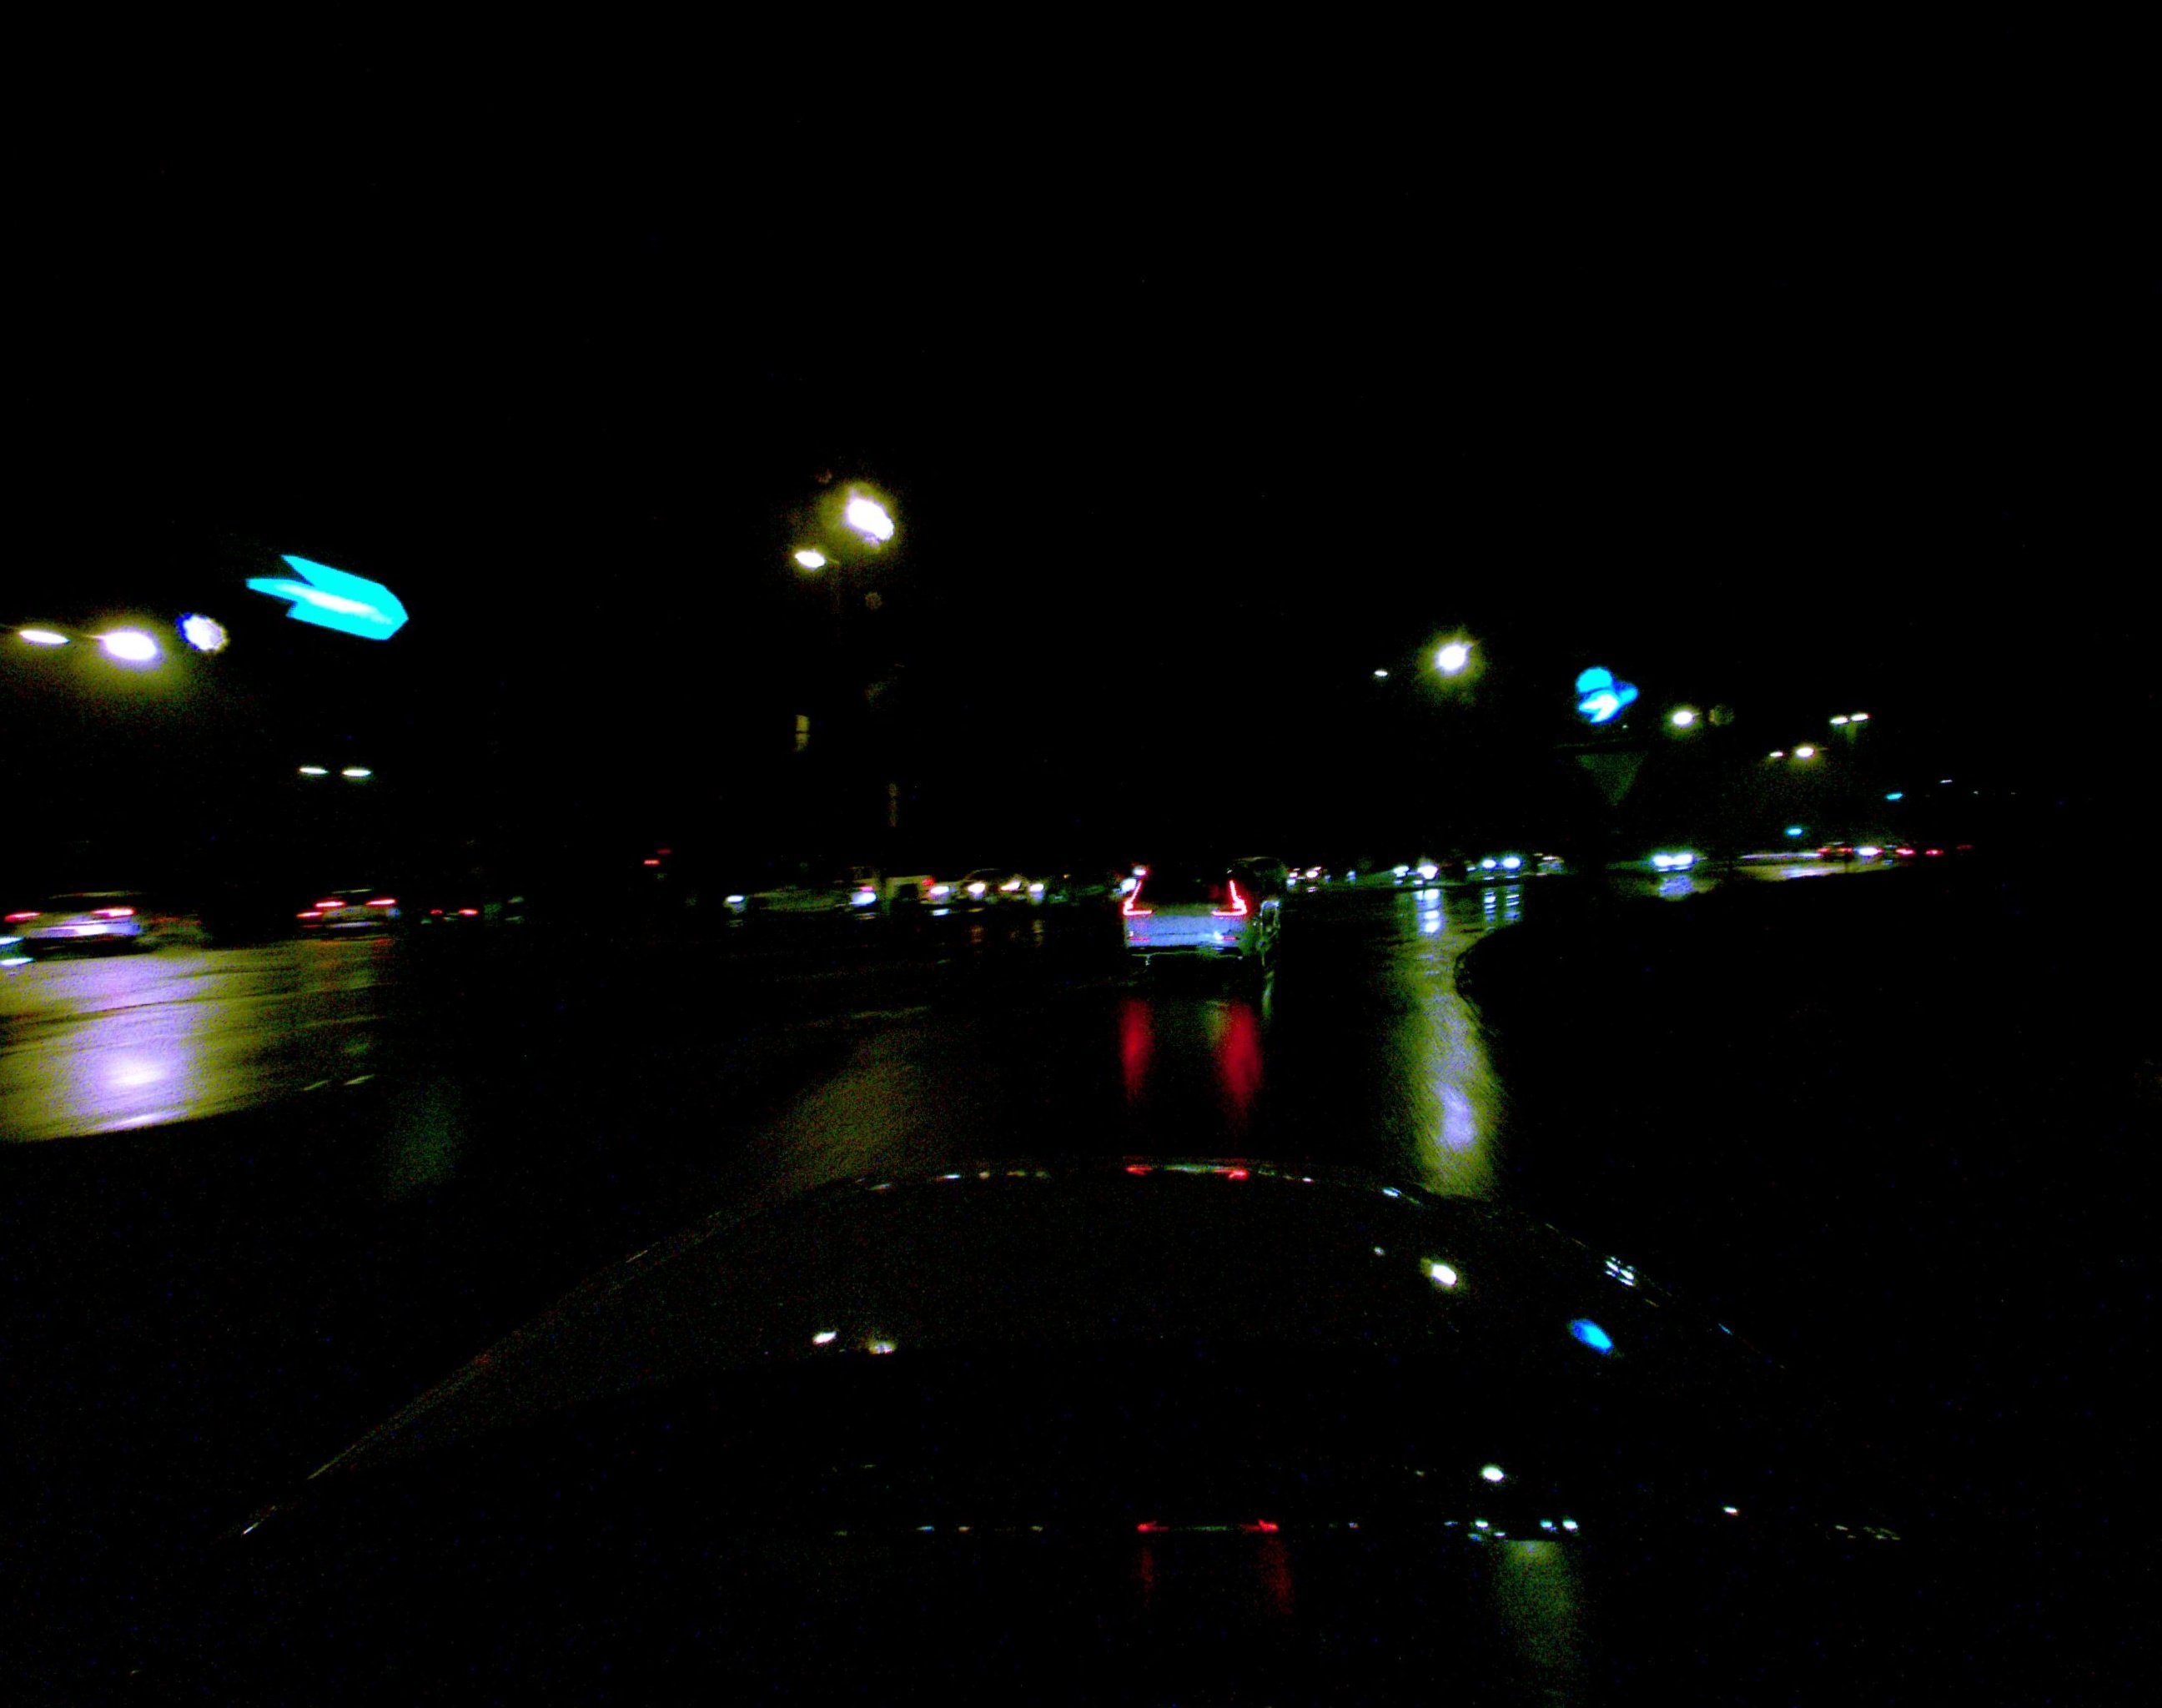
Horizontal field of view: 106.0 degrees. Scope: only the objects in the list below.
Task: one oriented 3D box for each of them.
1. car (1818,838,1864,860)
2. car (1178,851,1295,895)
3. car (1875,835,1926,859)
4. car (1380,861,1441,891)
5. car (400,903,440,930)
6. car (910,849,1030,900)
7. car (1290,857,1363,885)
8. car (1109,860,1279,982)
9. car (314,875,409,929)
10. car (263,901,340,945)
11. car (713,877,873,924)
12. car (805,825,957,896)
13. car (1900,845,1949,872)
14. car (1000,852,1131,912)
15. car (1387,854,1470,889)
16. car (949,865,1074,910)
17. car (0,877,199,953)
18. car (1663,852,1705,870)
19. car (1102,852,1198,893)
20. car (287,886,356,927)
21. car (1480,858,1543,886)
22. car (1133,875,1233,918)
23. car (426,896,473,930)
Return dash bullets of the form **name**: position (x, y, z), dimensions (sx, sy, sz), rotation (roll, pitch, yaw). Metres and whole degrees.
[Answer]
- **car**: position (61.778, -0.400, 66.177), dimensions (4.020, 1.601, 2.160), rotation (2, 2, -40)
- **car**: position (5.909, 0.694, 30.745), dimensions (4.431, 1.484, 1.763), rotation (-1, -1, -36)
- **car**: position (63.923, -0.555, 63.518), dimensions (4.017, 1.601, 2.161), rotation (2, 1, -36)
- **car**: position (21.061, 1.428, 52.056), dimensions (4.018, 1.849, 1.809), rotation (2, -2, -37)
- **car**: position (-47.159, 4.425, 58.187), dimensions (1.842, 1.640, 3.957), rotation (2, -1, -35)
- **car**: position (-4.257, 0.769, 31.531), dimensions (4.303, 1.848, 1.746), rotation (2, -1, -37)
- **car**: position (13.519, 0.930, 44.763), dimensions (4.058, 1.377, 1.745), rotation (-1, -1, -37)
- **car**: position (1.868, 0.833, 12.091), dimensions (1.782, 1.452, 4.288), rotation (-1, 0, 18)
- **car**: position (-23.089, 1.486, 26.265), dimensions (1.864, 1.592, 3.979), rotation (1, -2, -36)
- **car**: position (-32.784, 2.852, 34.373), dimensions (1.925, 1.658, 3.940), rotation (0, -2, -38)
- **car**: position (-9.673, 1.524, 27.557), dimensions (4.824, 1.427, 1.746), rotation (1, -2, -36)
- **car**: position (-8.174, 0.309, 33.403), dimensions (5.622, 2.710, 2.236), rotation (1, -1, -28)
- **car**: position (55.302, 0.320, 53.399), dimensions (4.020, 1.601, 1.894), rotation (2, 2, -40)
- **car**: position (-0.471, 0.858, 26.410), dimensions (3.918, 1.725, 1.746), rotation (-1, -1, -35)
- **car**: position (17.085, 0.832, 39.964), dimensions (4.326, 1.578, 1.798), rotation (-1, -2, -38)
- **car**: position (-2.416, 1.146, 28.609), dimensions (4.073, 1.487, 1.700), rotation (1, -2, -33)
- **car**: position (-22.465, 1.317, 18.865), dimensions (1.748, 1.436, 4.246), rotation (2, -1, -33)
- **car**: position (53.014, 0.616, 71.566), dimensions (4.452, 1.530, 1.868), rotation (2, -1, -39)
- **car**: position (3.193, 0.849, 37.352), dimensions (4.269, 1.799, 1.784), rotation (1, -2, -37)
- **car**: position (-42.427, 2.887, 45.601), dimensions (1.786, 2.079, 3.964), rotation (1, -1, -28)
- **car**: position (27.238, 1.146, 51.455), dimensions (4.507, 1.666, 1.784), rotation (2, -1, -37)
- **car**: position (4.224, 1.710, 33.591), dimensions (3.994, 1.666, 1.784), rotation (1, -2, -37)
- **car**: position (-35.353, 3.264, 45.667), dimensions (1.841, 1.653, 4.431), rotation (2, -1, -36)
